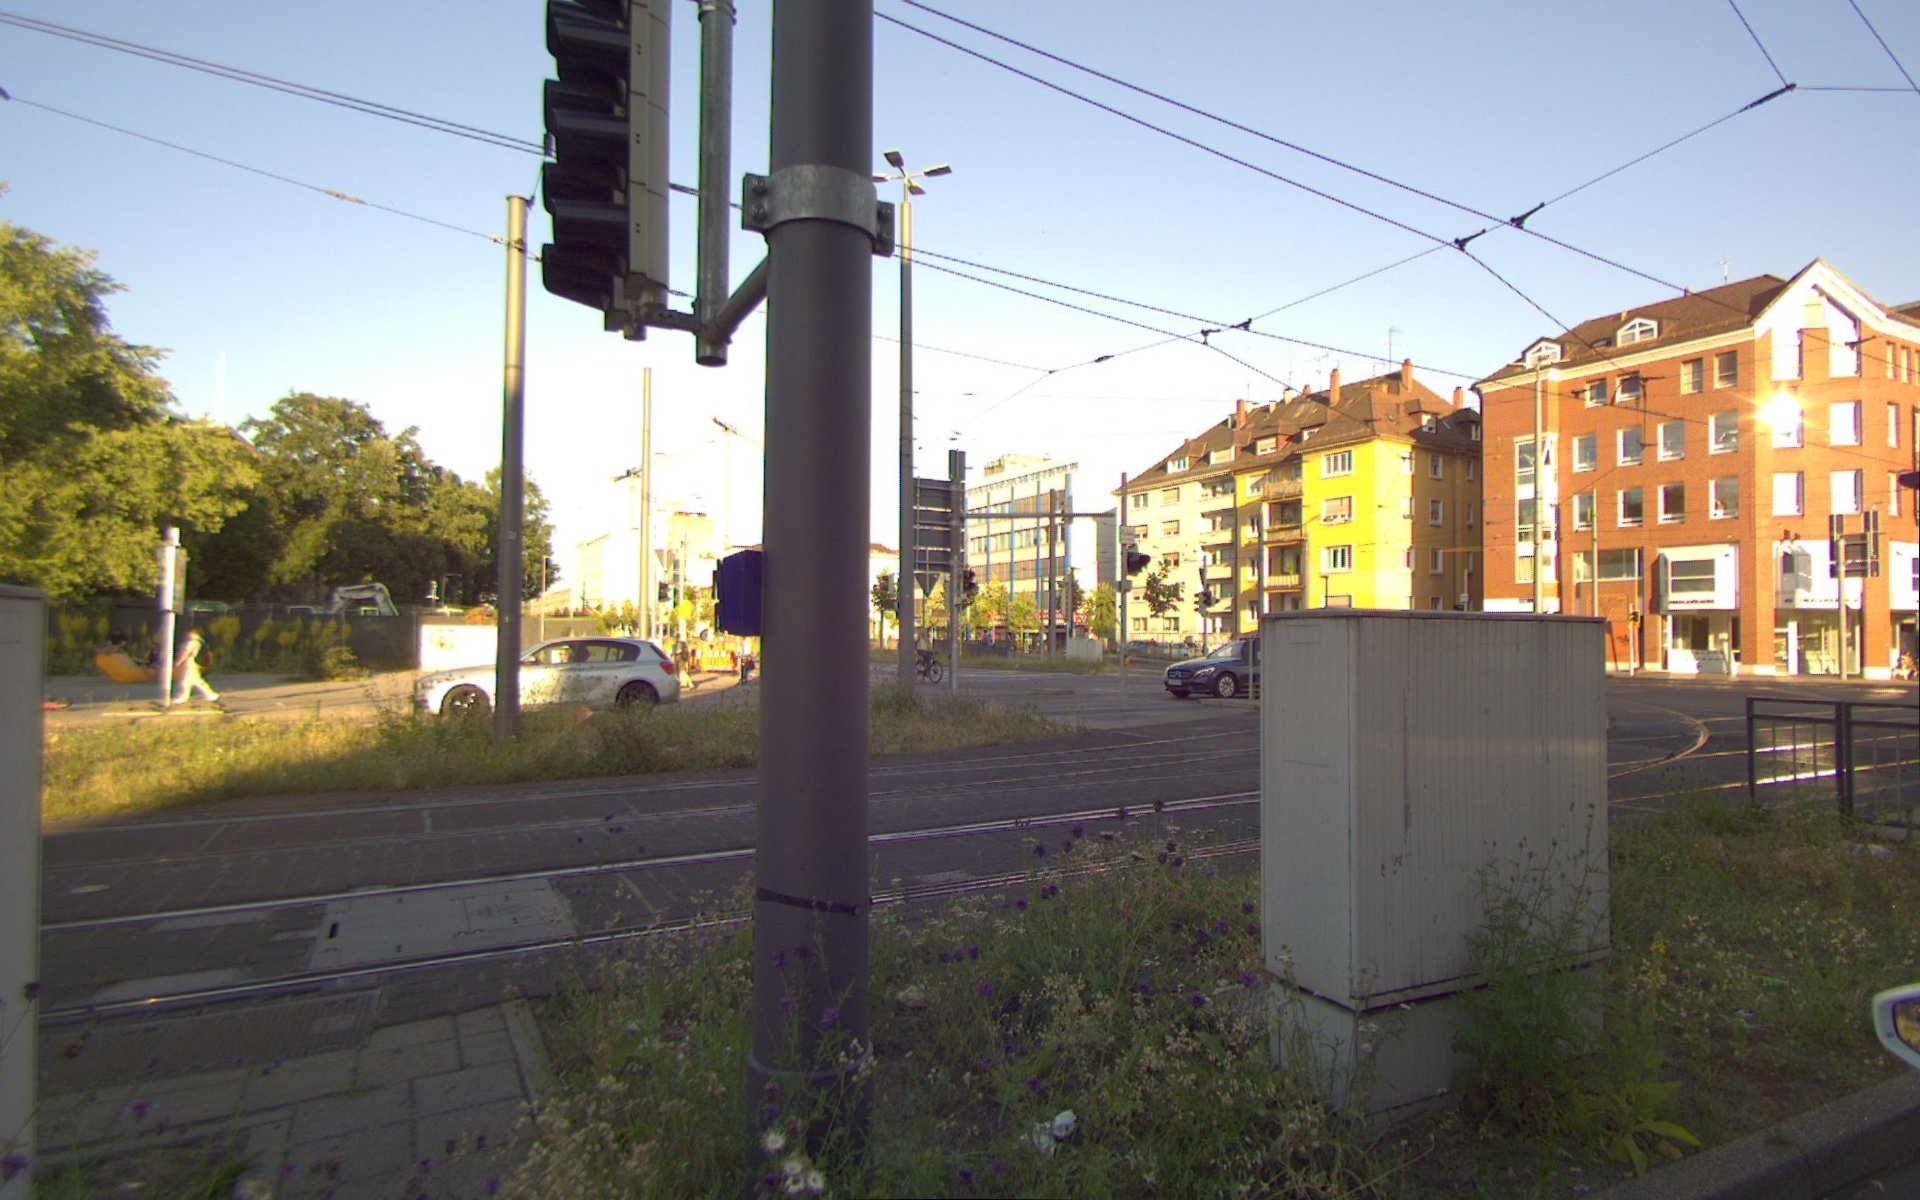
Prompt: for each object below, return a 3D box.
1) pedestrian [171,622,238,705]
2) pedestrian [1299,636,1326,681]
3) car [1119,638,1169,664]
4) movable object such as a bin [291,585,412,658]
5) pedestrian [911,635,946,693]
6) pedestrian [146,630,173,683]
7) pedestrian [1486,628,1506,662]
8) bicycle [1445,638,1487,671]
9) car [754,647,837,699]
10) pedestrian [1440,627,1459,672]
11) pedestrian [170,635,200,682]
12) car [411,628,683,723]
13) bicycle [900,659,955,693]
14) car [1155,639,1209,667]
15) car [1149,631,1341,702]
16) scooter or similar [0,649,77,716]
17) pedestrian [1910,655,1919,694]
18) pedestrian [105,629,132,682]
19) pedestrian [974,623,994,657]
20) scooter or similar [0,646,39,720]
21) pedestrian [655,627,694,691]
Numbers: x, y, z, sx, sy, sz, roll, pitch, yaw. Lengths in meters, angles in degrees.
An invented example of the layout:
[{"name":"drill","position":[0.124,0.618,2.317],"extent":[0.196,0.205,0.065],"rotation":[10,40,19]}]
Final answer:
[{"name":"pedestrian","position":[-17.640,1.474,23.482],"extent":[0.961,1.892,0.882],"rotation":[1,-2,-18]},{"name":"pedestrian","position":[15.573,2.574,44.370],"extent":[0.924,1.893,0.839],"rotation":[1,0,4]},{"name":"car","position":[15.333,4.236,84.056],"extent":[1.978,2.040,3.966],"rotation":[1,-1,-31]},{"name":"movable object such as a bin","position":[-28.026,1.018,46.414],"extent":[4.268,3.271,1.996],"rotation":[1,-2,-12]},{"name":"pedestrian","position":[-1.070,2.154,34.224],"extent":[0.887,1.936,0.837],"rotation":[1,-2,-37]},{"name":"pedestrian","position":[-25.710,1.799,32.270],"extent":[0.594,1.680,0.531],"rotation":[1,-2,-34]},{"name":"pedestrian","position":[30.893,2.577,57.878],"extent":[0.656,1.893,0.800],"rotation":[1,0,-33]},{"name":"bicycle","position":[21.445,2.297,42.551],"extent":[1.992,1.343,0.615],"rotation":[1,0,-30]},{"name":"car","position":[-5.791,2.464,34.894],"extent":[1.970,1.639,4.544],"rotation":[1,-2,-21]},{"name":"pedestrian","position":[20.911,2.088,42.901],"extent":[0.556,1.893,0.499],"rotation":[1,0,-31]},{"name":"pedestrian","position":[-25.204,1.900,32.659],"extent":[0.617,1.515,0.637],"rotation":[1,-2,-26]},{"name":"car","position":[-7.068,1.241,17.318],"extent":[4.150,1.467,1.662],"rotation":[1,-2,-29]},{"name":"bicycle","position":[-1.124,2.572,34.269],"extent":[0.886,1.074,1.989],"rotation":[2,-2,-36]},{"name":"car","position":[17.663,4.236,80.102],"extent":[1.978,2.040,3.966],"rotation":[1,-1,-31]},{"name":"car","position":[6.983,1.574,24.564],"extent":[4.424,1.606,1.986],"rotation":[1,-2,-29]},{"name":"scooter or similar","position":[-18.516,1.619,20.023],"extent":[0.507,1.288,1.255],"rotation":[-1,-2,24]},{"name":"pedestrian","position":[48.096,3.719,50.151],"extent":[0.665,1.893,0.634],"rotation":[1,0,0]},{"name":"pedestrian","position":[-26.930,1.766,32.156],"extent":[0.529,1.680,0.596],"rotation":[-2,-3,45]},{"name":"pedestrian","position":[1.367,2.274,56.843],"extent":[0.711,1.892,0.880],"rotation":[-2,-3,44]},{"name":"scooter or similar","position":[-19.333,1.660,20.080],"extent":[0.507,1.465,1.257],"rotation":[0,-2,11]},{"name":"pedestrian","position":[-8.948,1.837,31.534],"extent":[1.080,1.970,1.023],"rotation":[0,-2,-10]}]
